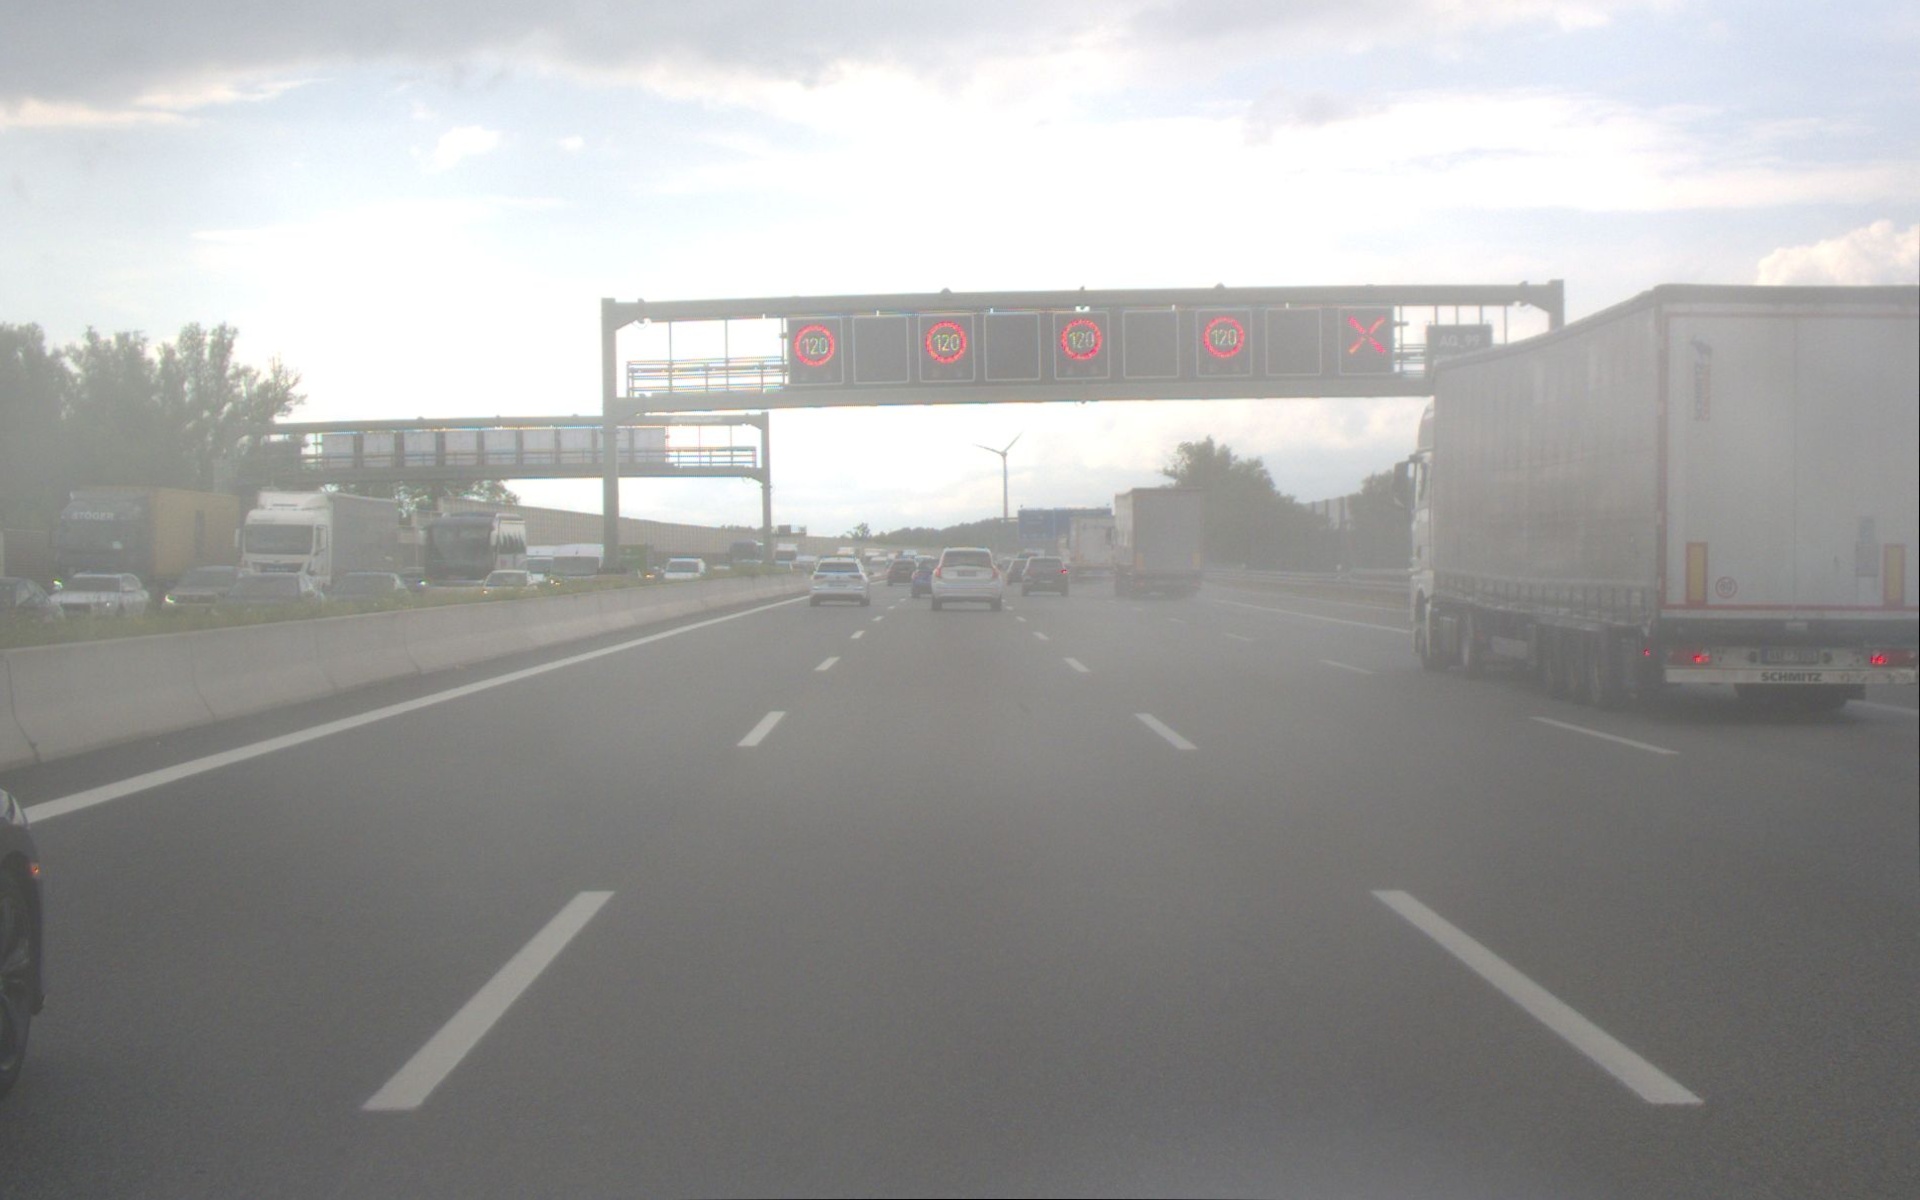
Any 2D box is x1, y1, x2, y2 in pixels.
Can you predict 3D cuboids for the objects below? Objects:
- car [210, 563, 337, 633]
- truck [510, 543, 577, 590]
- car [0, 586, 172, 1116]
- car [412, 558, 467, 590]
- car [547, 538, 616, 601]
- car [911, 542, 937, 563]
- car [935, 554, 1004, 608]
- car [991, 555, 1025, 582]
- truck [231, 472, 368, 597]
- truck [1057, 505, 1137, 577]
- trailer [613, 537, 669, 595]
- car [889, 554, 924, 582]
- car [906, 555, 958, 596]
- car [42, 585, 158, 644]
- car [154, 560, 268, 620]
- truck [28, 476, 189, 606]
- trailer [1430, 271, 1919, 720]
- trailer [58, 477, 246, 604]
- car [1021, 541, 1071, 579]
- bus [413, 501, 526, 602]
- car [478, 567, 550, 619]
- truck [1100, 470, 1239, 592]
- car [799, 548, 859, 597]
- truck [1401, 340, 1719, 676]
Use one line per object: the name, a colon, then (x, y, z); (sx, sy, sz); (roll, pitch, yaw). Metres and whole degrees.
car: (-14.441, -0.074, 72.542); (1.787, 1.377, 4.861); (1, 1, -1)
truck: (-18.051, -1.466, 149.146); (2.243, 1.993, 5.545); (0, 0, -1)
car: (-3.404, 0.682, 8.629); (1.760, 1.364, 5.060); (0, 1, -1)
car: (-24.218, -1.218, 160.090); (1.807, 1.483, 4.773); (0, 0, 1)
car: (-14.584, -1.203, 132.787); (2.136, 2.343, 5.711); (1, 1, -1)
car: (-2.550, -3.395, 244.118); (1.772, 1.436, 4.055); (0, 1, 0)
car: (0.244, -0.549, 96.120); (1.772, 1.436, 4.056); (0, 1, -2)
car: (2.657, -1.745, 191.604); (1.835, 1.436, 4.055); (0, 1, 0)
truck: (-21.838, -2.141, 113.990); (2.886, 3.948, 7.536); (1, 1, 1)
truck: (8.269, -3.590, 209.360); (4.244, 4.162, 11.990); (1, 1, 0)
trailer: (-17.673, -1.885, 190.465); (2.449, 3.128, 6.050); (0, 1, 1)
car: (-2.878, -1.706, 184.523); (1.772, 1.436, 4.056); (0, 1, -2)
car: (-1.018, -0.900, 124.821); (1.772, 1.436, 4.056); (0, 1, -2)
car: (-21.763, 0.346, 87.177); (1.787, 1.377, 4.861); (1, 1, -1)
car: (-18.239, -0.266, 83.865); (1.787, 1.377, 4.861); (1, 1, -1)
truck: (-26.654, -1.819, 107.941); (3.029, 3.919, 7.710); (0, 0, 1)
trailer: (7.627, -1.069, 37.935); (2.961, 4.006, 14.119); (1, 1, 0)
trailer: (-26.580, -1.915, 113.871); (3.029, 3.919, 12.974); (0, 0, 1)
car: (3.336, -1.566, 133.865); (1.835, 1.436, 4.055); (0, 1, 0)
bus: (-18.584, -1.803, 130.846); (2.654, 3.667, 10.634); (0, 0, 1)
car: (-14.022, -0.242, 108.243); (1.736, 1.534, 4.377); (1, 1, -1)
truck: (7.744, -2.580, 129.187); (4.180, 4.273, 12.613); (1, 1, -1)
car: (-3.946, -0.852, 103.999); (1.772, 1.436, 3.874); (0, 1, -2)
truck: (7.627, -1.163, 44.577); (2.961, 4.006, 6.589); (1, 1, 0)
